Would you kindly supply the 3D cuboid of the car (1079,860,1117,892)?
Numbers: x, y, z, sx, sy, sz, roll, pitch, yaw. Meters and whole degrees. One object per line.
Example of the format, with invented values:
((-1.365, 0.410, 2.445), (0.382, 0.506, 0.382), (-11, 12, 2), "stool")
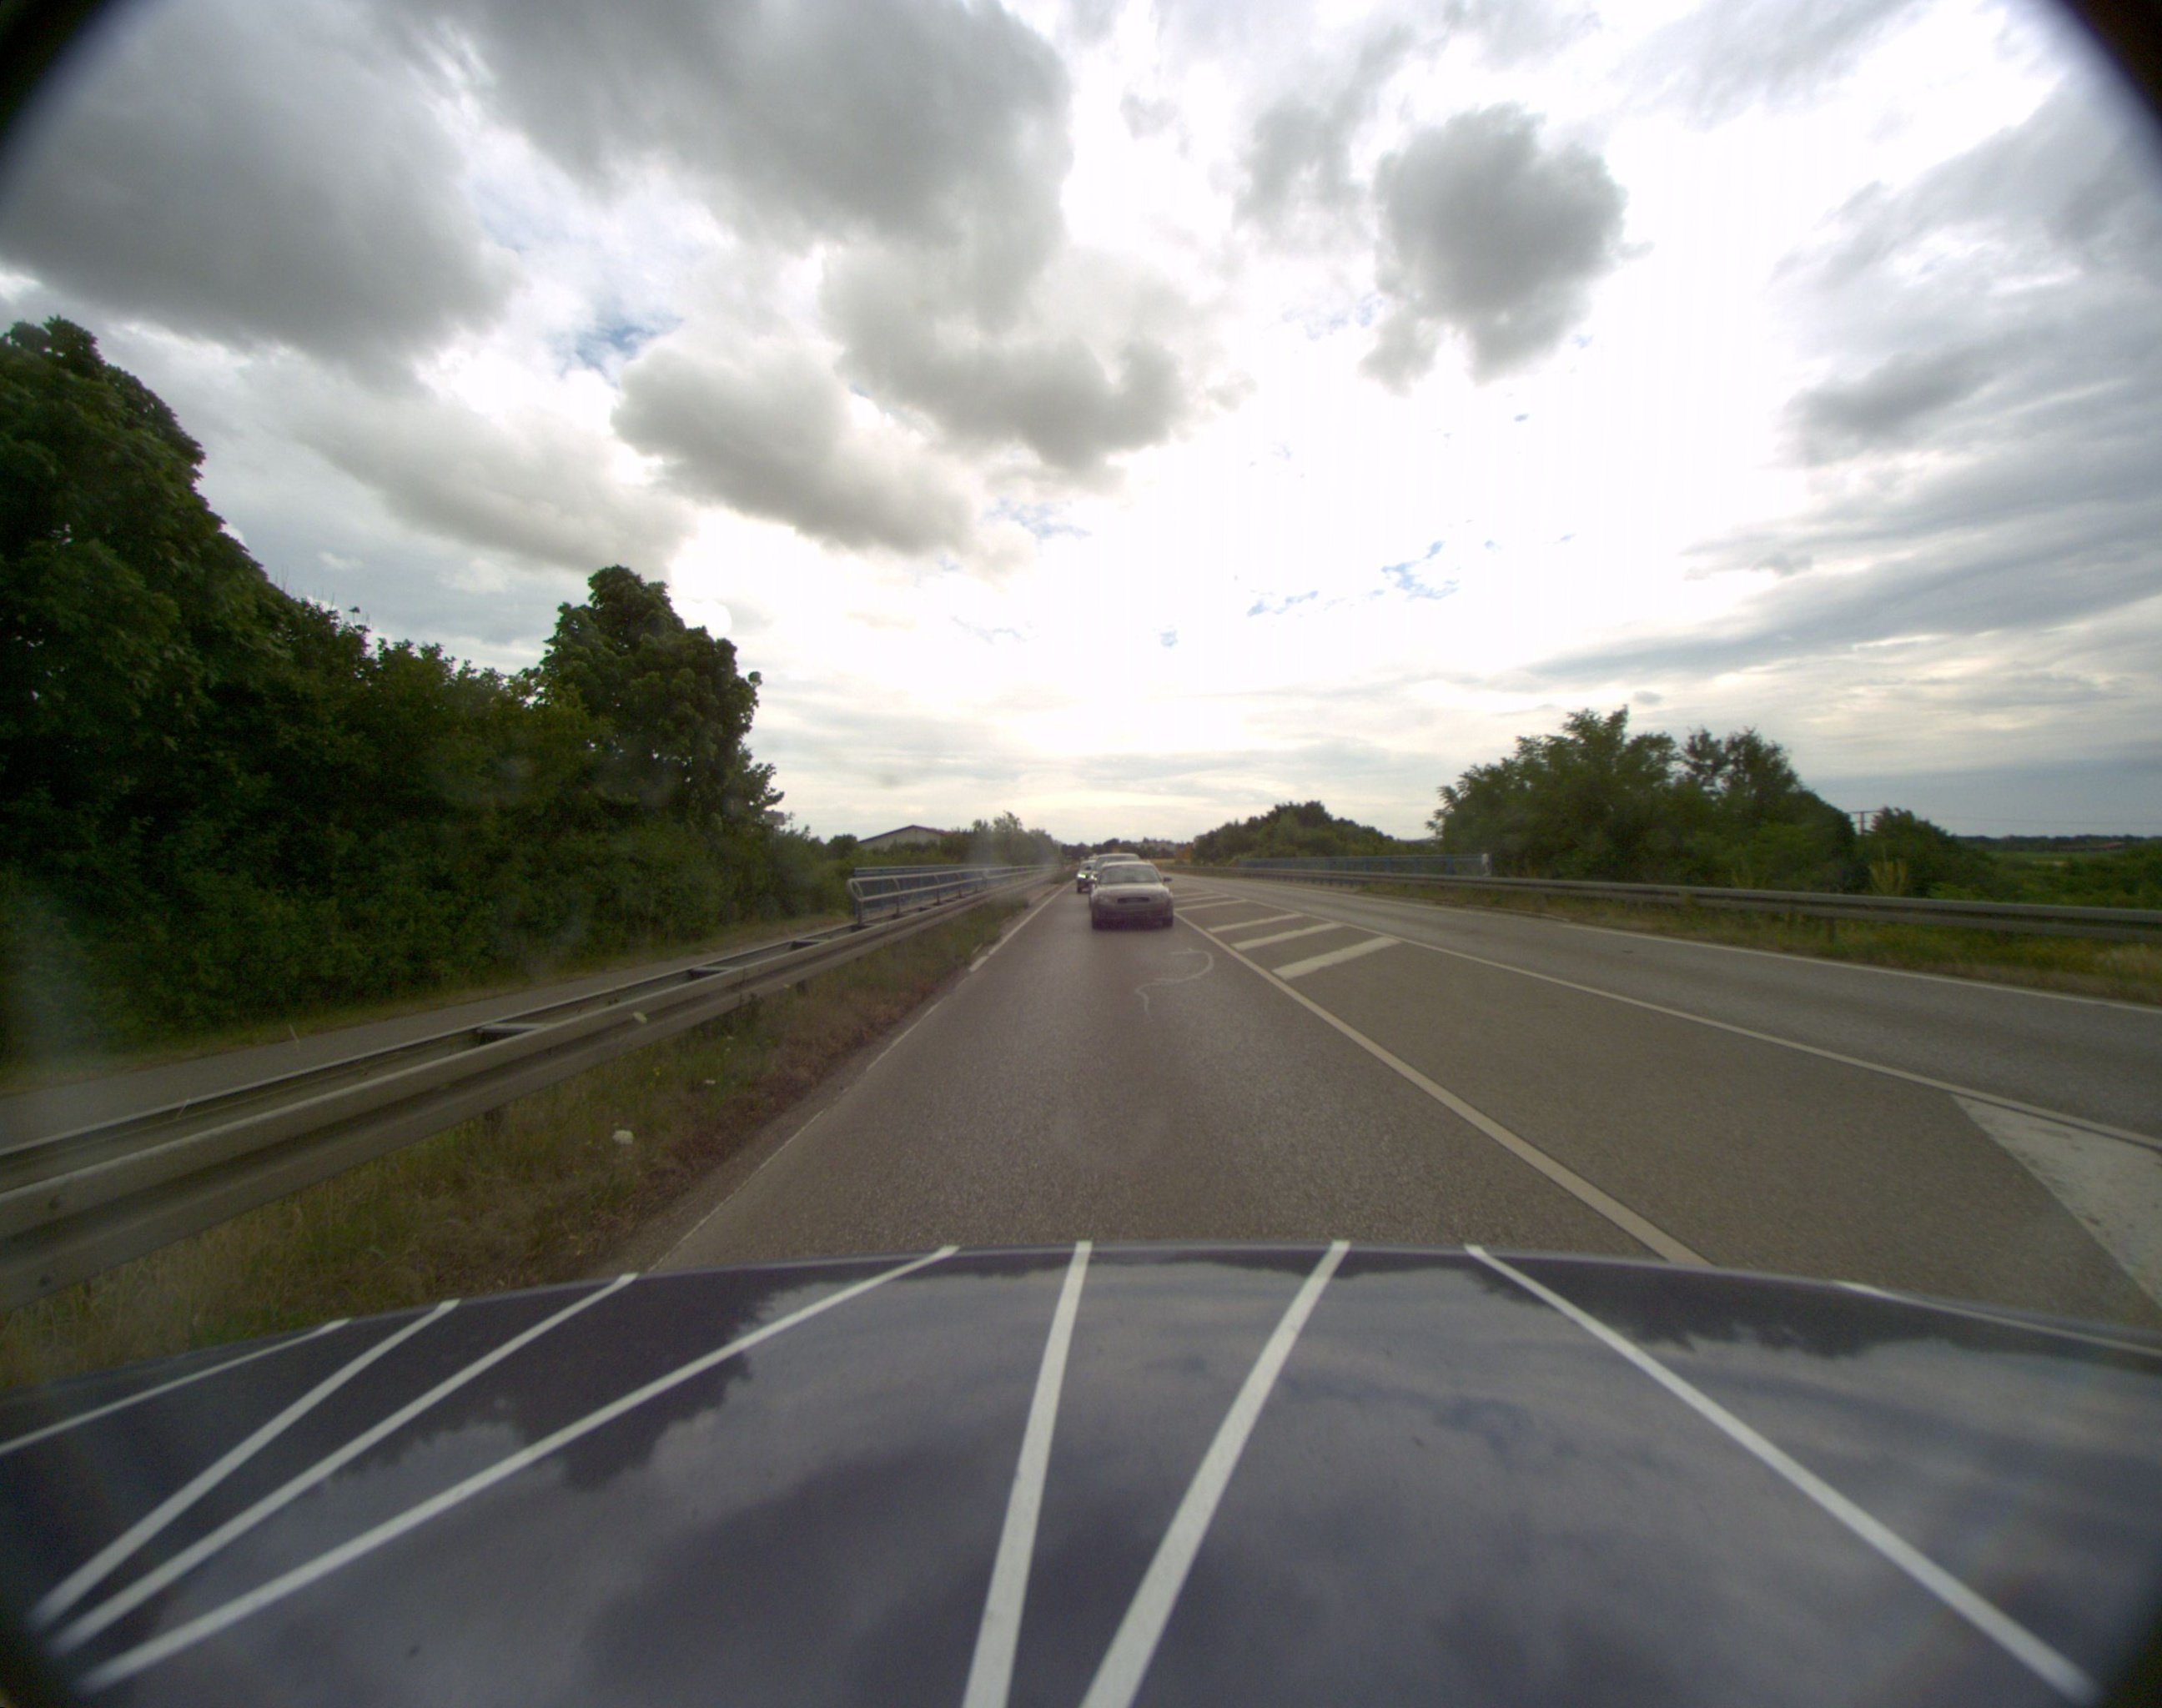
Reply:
((0.789, 1.007, 36.499), (1.670, 1.339, 4.000), (-2, 0, 1), "car")

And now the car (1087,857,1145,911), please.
((1.084, 0.905, 24.719), (1.684, 1.521, 4.000), (-2, 0, 1), "car")

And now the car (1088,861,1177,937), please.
((1.072, 0.936, 17.419), (1.768, 1.383, 3.876), (-2, 1, 1), "car")
